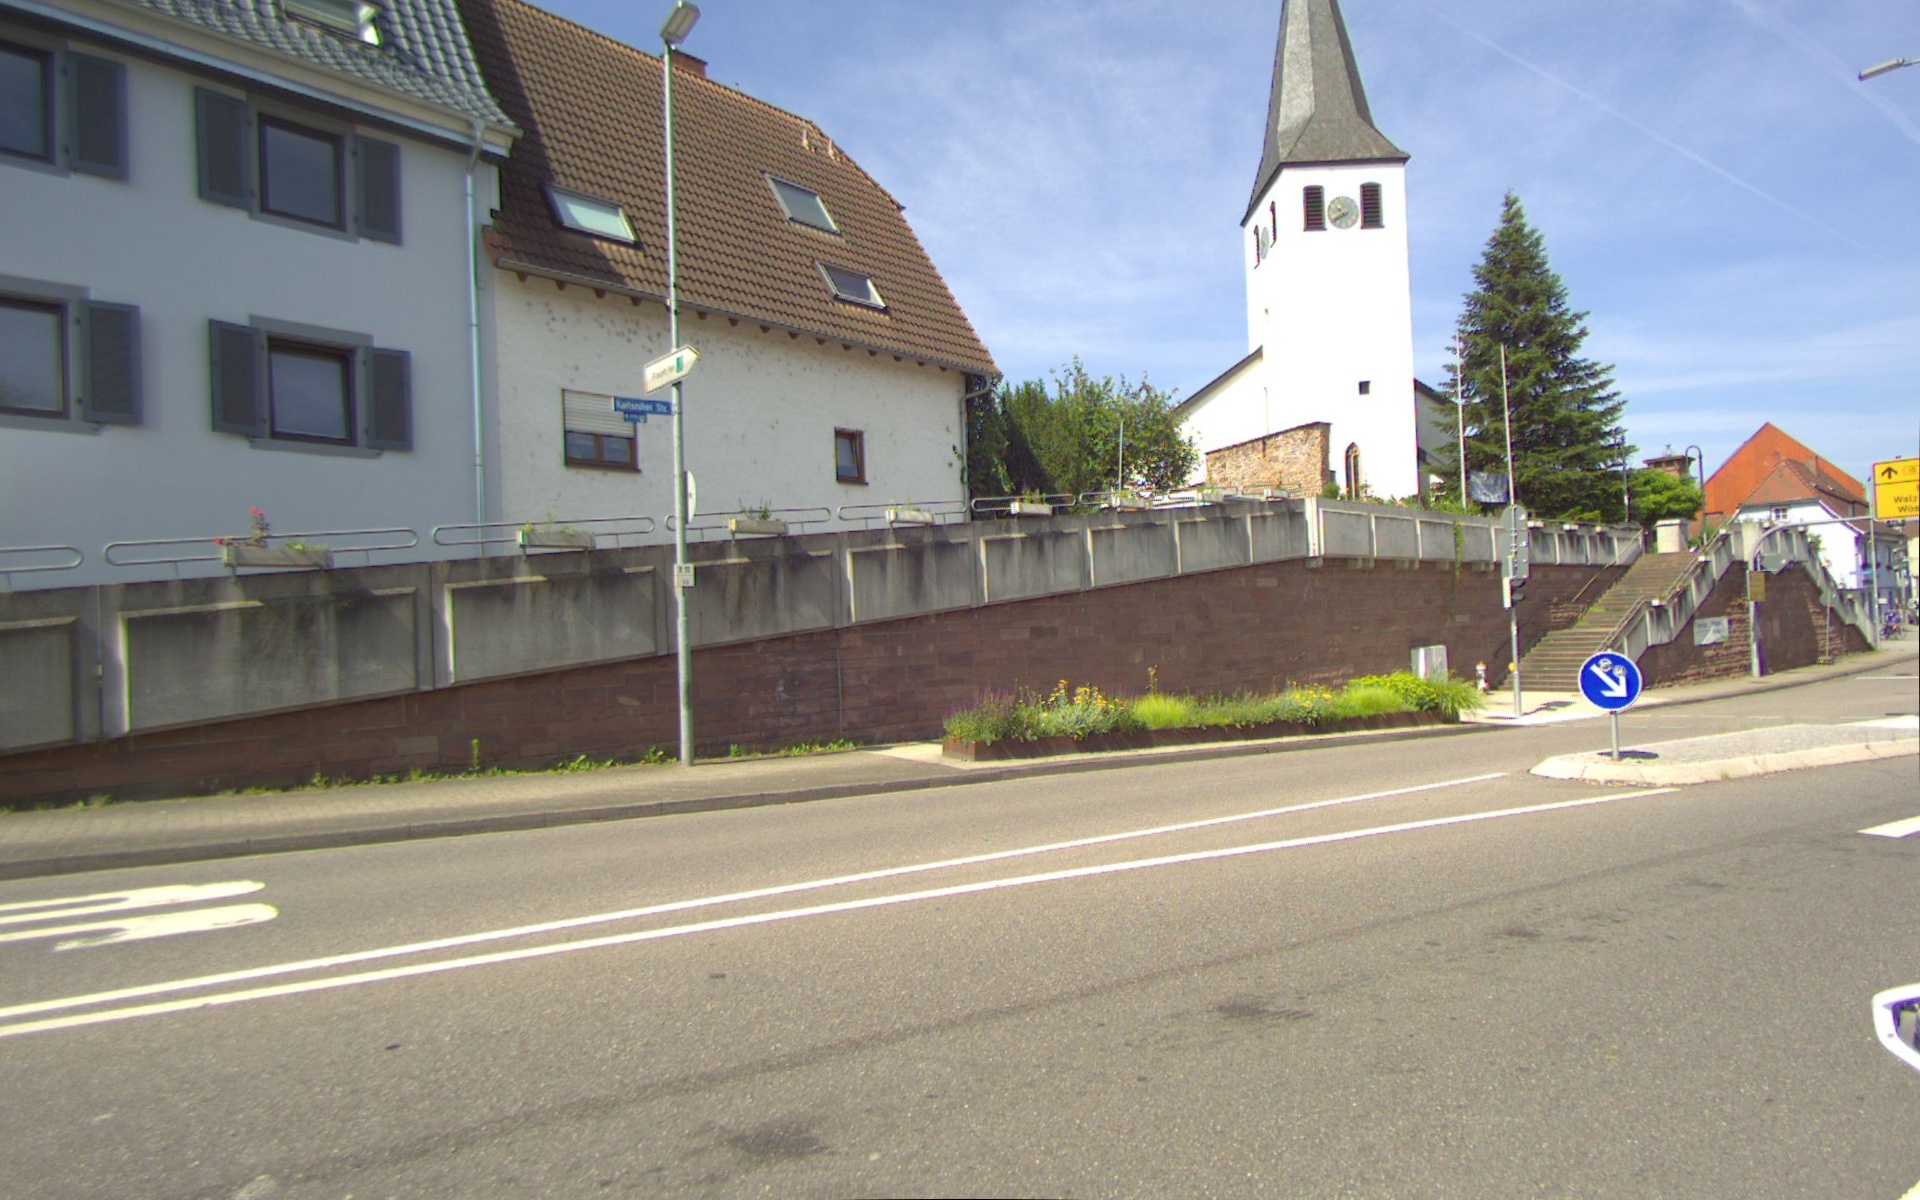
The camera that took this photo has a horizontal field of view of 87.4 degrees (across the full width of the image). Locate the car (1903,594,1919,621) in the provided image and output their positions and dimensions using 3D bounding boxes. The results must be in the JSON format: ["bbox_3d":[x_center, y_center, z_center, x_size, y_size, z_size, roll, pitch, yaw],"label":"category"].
[{"bbox_3d":[73.994,0.550,76.952,2.112,1.992,5.253,-4,-2,40],"label":"car"}]

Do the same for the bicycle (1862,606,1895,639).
[{"bbox_3d":[51.106,1.247,55.893,2.639,1.803,0.638,0,0,-31],"label":"bicycle"}]

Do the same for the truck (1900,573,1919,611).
[{"bbox_3d":[89.161,-0.723,91.432,3.114,3.506,10.688,0,0,31],"label":"truck"}]

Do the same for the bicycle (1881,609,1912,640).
[{"bbox_3d":[50.889,1.312,54.584,2.533,1.629,0.555,0,0,-31],"label":"bicycle"}]
